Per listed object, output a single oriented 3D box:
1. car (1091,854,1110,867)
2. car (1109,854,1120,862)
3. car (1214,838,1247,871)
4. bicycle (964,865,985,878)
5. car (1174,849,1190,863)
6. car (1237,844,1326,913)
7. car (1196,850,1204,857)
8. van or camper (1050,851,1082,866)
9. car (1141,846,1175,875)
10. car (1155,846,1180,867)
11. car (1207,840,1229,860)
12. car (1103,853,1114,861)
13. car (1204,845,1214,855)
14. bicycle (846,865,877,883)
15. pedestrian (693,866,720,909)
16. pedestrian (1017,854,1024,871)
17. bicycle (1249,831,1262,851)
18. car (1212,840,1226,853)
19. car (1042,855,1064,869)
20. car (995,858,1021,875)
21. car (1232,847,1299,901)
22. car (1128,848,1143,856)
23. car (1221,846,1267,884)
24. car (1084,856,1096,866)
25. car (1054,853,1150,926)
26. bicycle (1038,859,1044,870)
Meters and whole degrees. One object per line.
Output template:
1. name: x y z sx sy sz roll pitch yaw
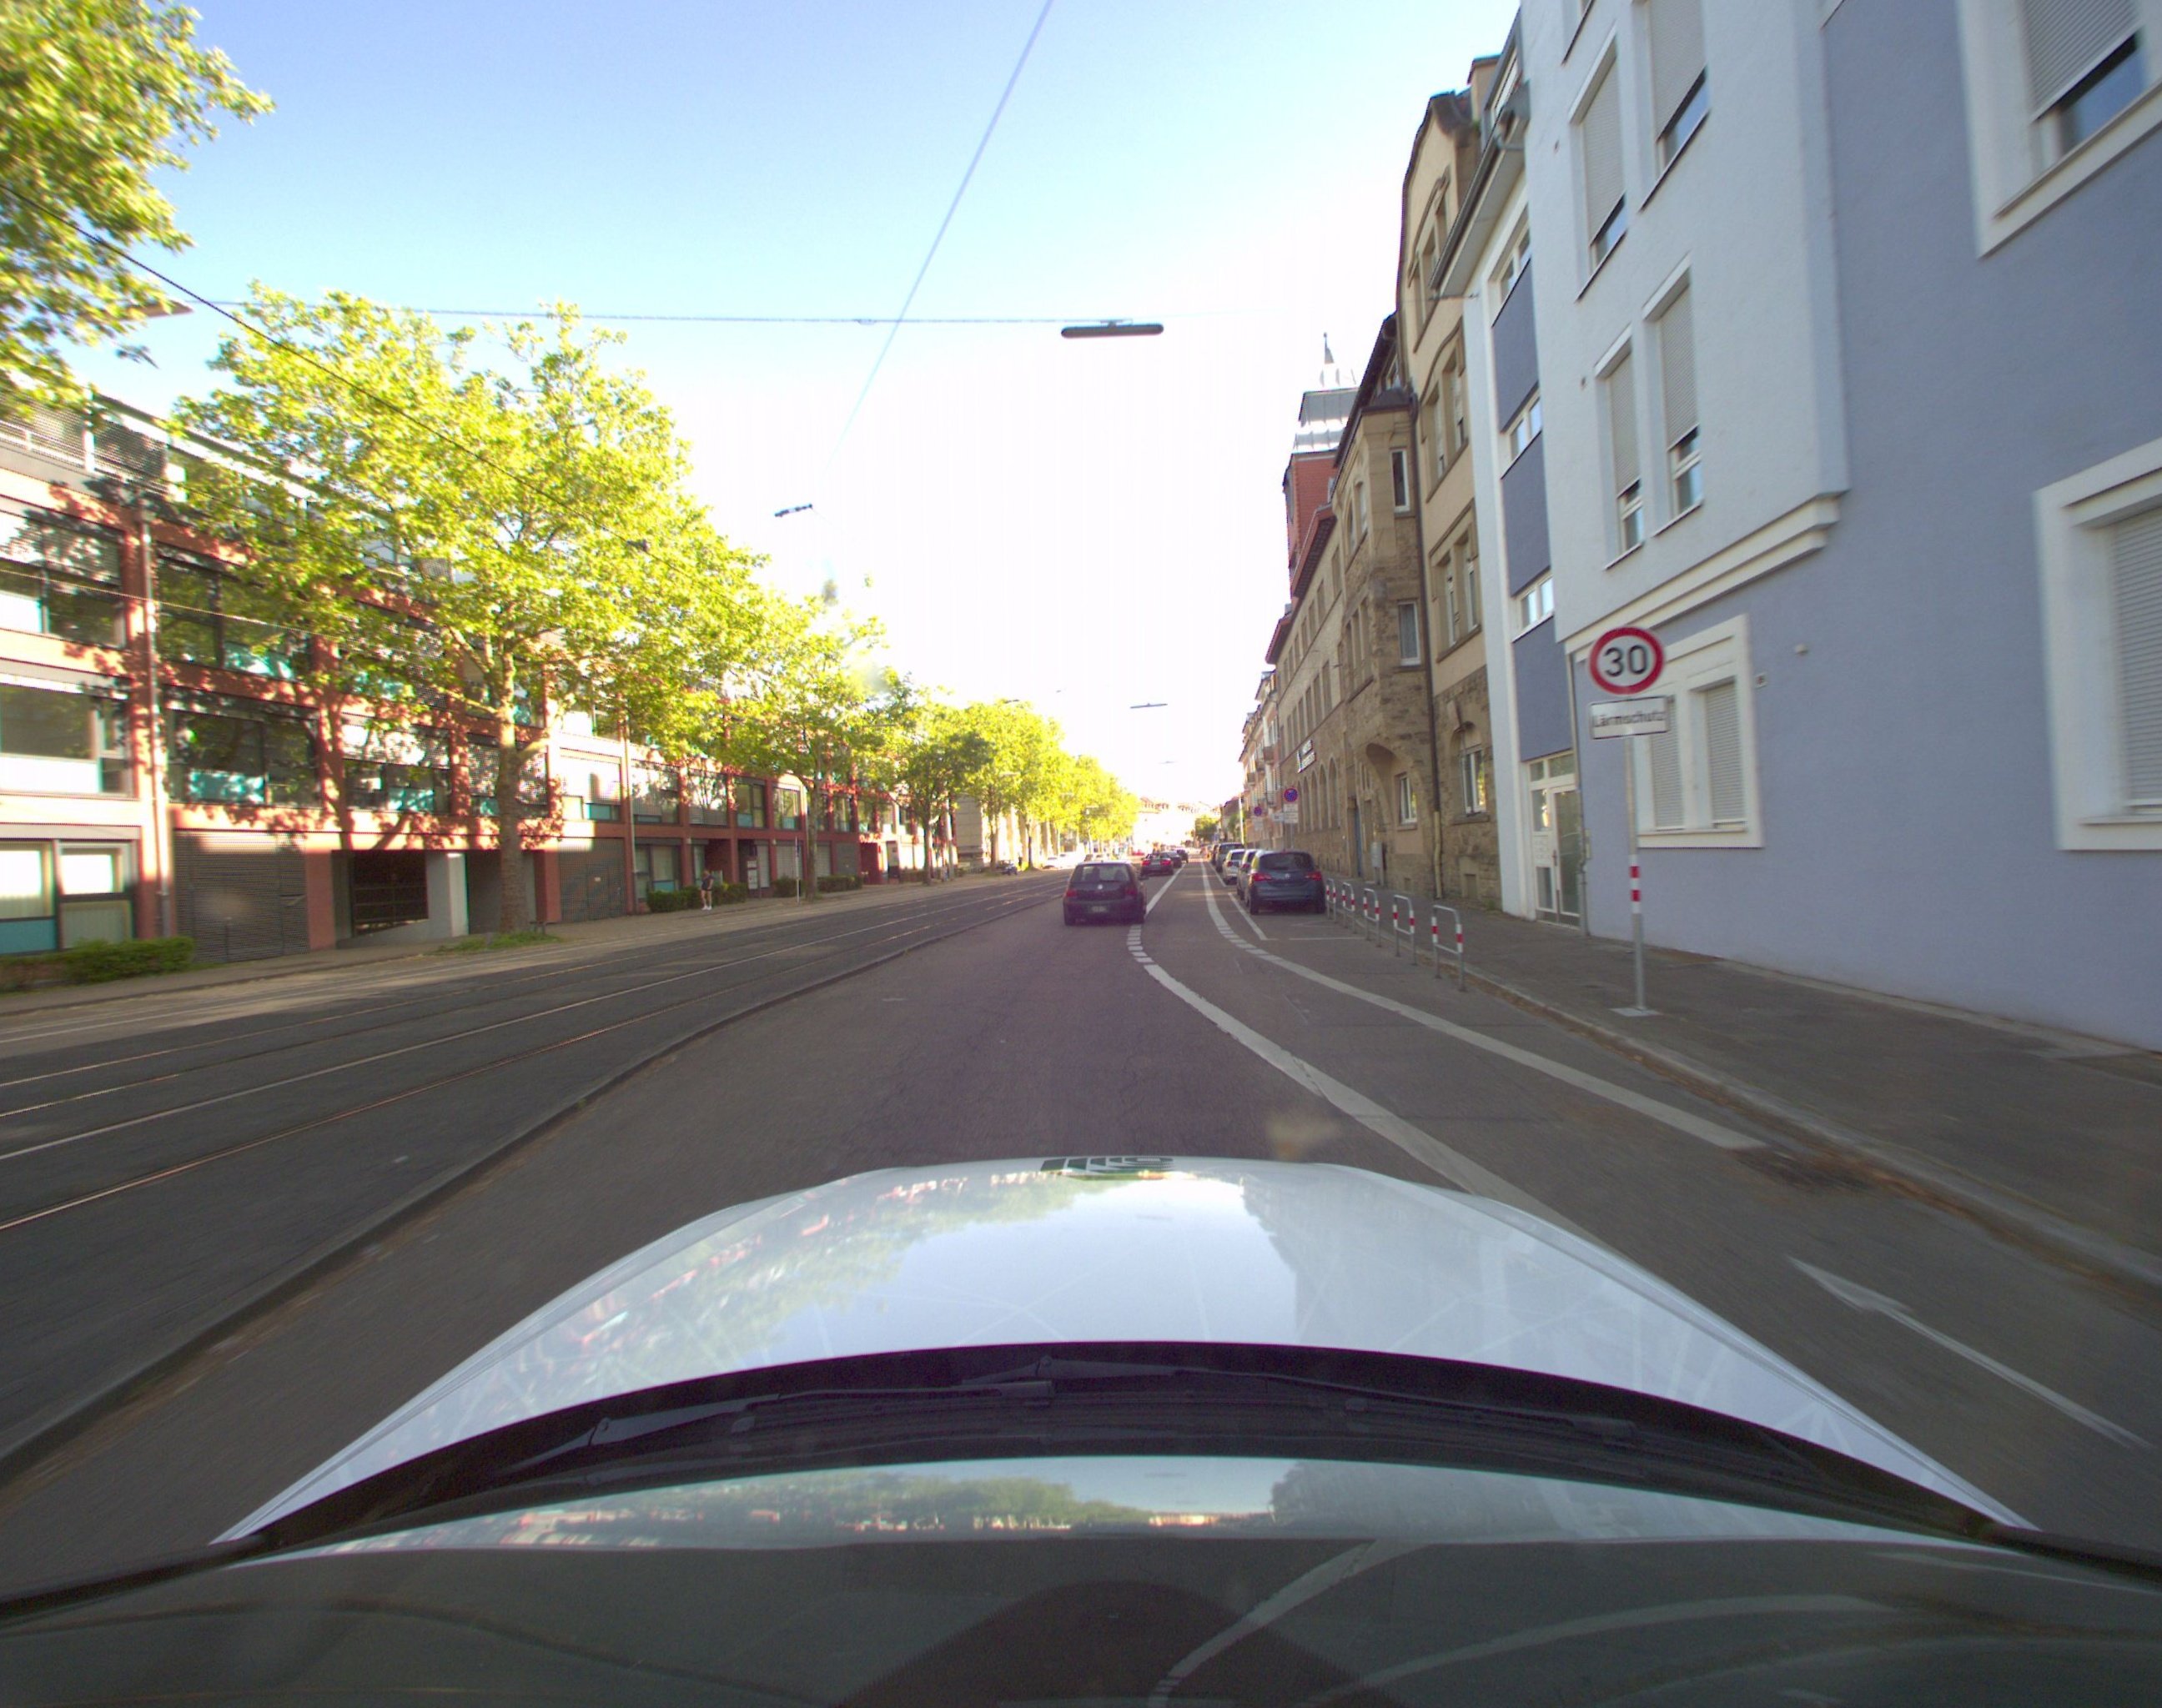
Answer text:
1. car: 2.690 0.869 112.456 1.741 1.518 4.085 -5 -1 12
2. car: 7.386 0.833 179.143 1.873 1.669 3.812 -1 0 7
3. car: 9.096 0.010 49.945 1.743 1.855 4.827 -2 0 8
4. bicycle: -10.808 1.807 82.600 1.997 1.278 0.666 -1 0 8
5. car: 11.012 0.184 88.708 1.627 1.472 3.738 -3 0 8
6. car: 4.801 0.538 19.959 1.646 1.482 4.009 -2 0 8
7. car: 28.719 -0.066 196.761 1.658 1.597 3.658 -3 0 8
8. van or camper: -1.940 0.561 109.906 2.041 1.949 5.221 -1 1 28
9. car: 4.586 0.364 48.150 1.738 1.537 3.901 -3 0 9
10. car: 6.891 0.155 64.721 1.738 1.537 3.901 -3 0 9
11. car: 13.008 -0.386 77.494 1.694 1.810 4.279 -2 0 6
12. car: 5.464 0.608 159.738 1.782 1.465 3.844 0 0 8
13. car: 24.293 -0.730 155.012 1.807 1.799 4.009 -3 0 8
14. bicycle: -15.746 1.441 58.354 2.047 1.272 0.621 0 2 13
15. pedestrian: -15.546 1.385 33.814 0.622 1.718 0.902 -1 0 7
16. pedestrian: -6.735 0.958 90.515 0.784 1.870 0.669 -1 0 -7
17. bicycle: 10.224 -0.763 47.707 0.512 1.139 2.263 -4 0 8
18. car: 19.082 -1.046 112.856 1.749 1.837 3.556 -1 0 8
19. car: -3.419 0.988 99.643 2.001 1.572 4.702 -1 1 7
20. car: -6.761 1.193 75.616 1.498 1.454 3.471 -3 -2 9
21. car: 5.590 0.544 25.041 1.742 1.500 4.207 -1 0 9
22. car: 14.850 -0.454 222.504 3.970 2.013 2.002 -1 0 3
23. car: 6.964 0.436 35.162 1.704 1.500 4.236 -1 0 8
24. car: 1.495 1.143 133.870 1.561 1.533 3.580 -3 -1 8
25. car: 0.593 0.722 18.527 1.739 1.375 4.008 -3 0 7
26. bicycle: -4.633 1.192 94.161 0.579 1.209 1.655 -1 0 2
